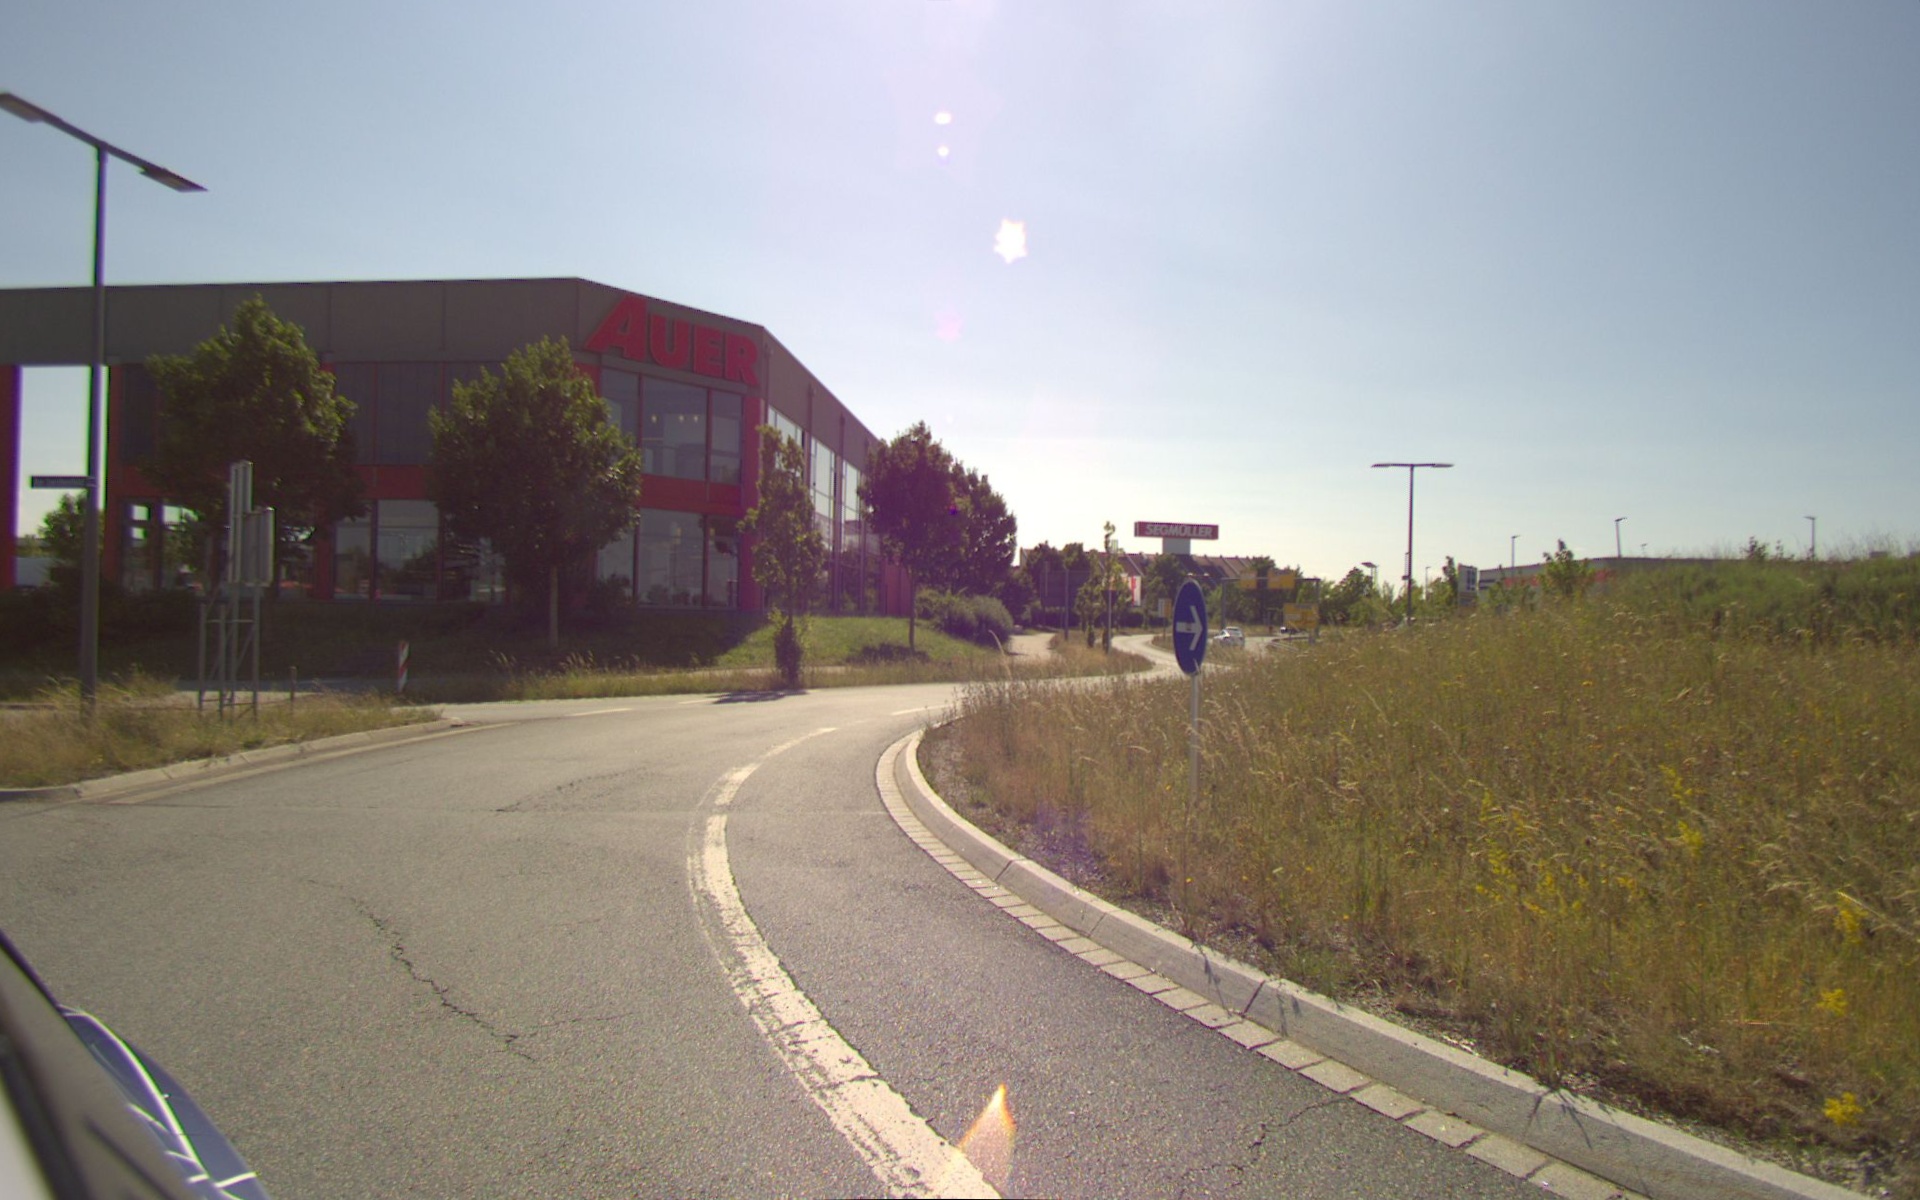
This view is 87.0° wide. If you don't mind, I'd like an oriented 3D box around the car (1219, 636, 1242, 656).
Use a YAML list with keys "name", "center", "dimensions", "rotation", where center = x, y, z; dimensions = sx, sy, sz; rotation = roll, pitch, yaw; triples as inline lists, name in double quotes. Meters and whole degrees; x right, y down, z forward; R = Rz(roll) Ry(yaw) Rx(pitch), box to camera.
- name: "car"
  center: [22.155, 3.742, 82.883]
  dimensions: [1.710, 1.586, 4.258]
  rotation: [0, -1, 14]
